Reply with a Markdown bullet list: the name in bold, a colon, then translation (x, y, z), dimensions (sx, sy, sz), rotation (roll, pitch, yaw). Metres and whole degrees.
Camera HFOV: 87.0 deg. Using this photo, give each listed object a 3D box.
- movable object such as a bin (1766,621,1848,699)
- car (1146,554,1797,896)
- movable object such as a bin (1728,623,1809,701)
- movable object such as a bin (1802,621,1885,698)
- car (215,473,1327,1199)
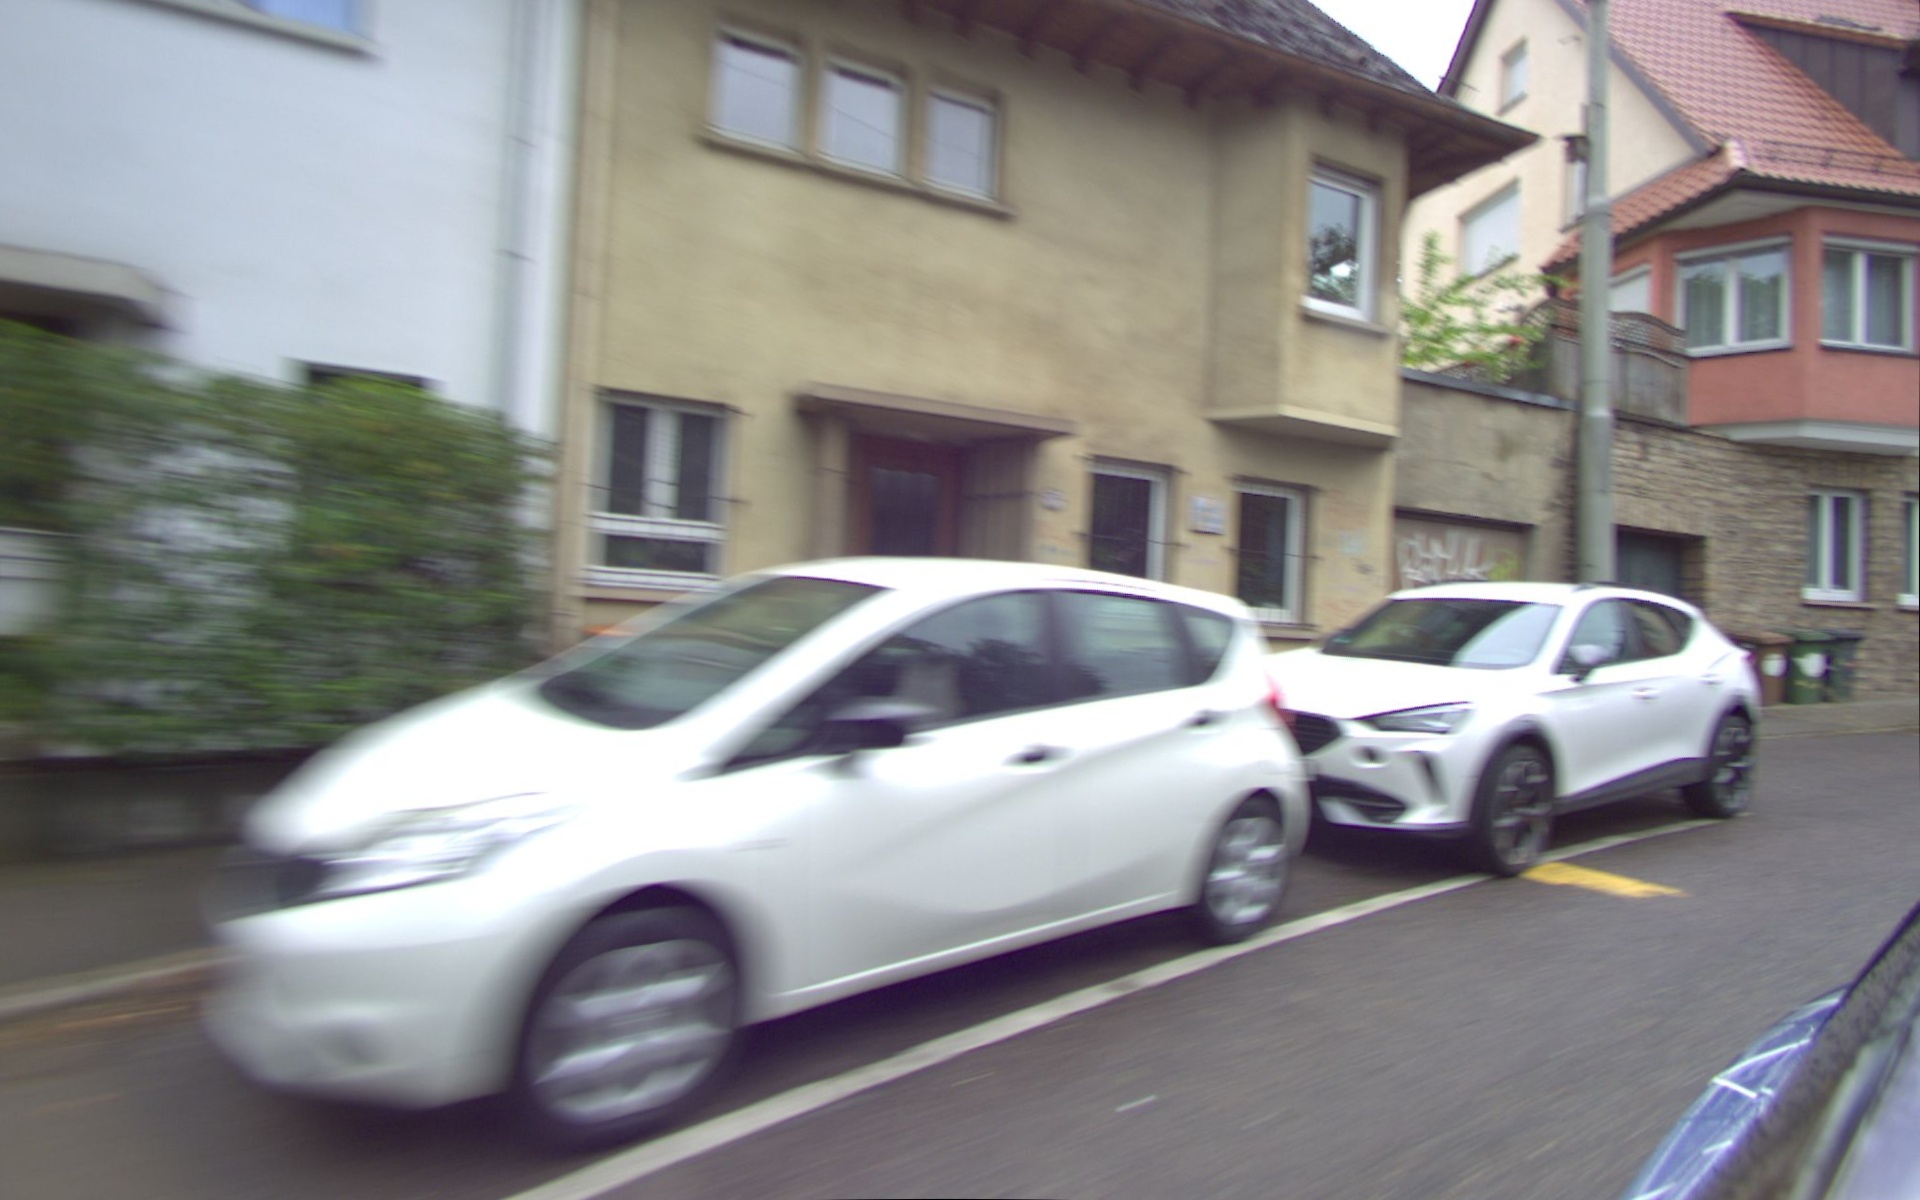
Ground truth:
- **movable object such as a bin**: translation (10.786, 0.760, 12.904), dimensions (0.502, 0.933, 0.583), rotation (0, 2, -6)
- **car**: translation (3.474, 0.515, 6.622), dimensions (4.330, 1.557, 1.921), rotation (-1, 2, -34)
- **movable object such as a bin**: translation (10.242, 0.779, 12.835), dimensions (0.502, 0.933, 0.583), rotation (0, 2, -6)
- **movable object such as a bin**: translation (11.342, 0.754, 13.005), dimensions (0.502, 0.933, 0.583), rotation (0, 2, -6)
- **car**: translation (-0.480, 0.494, 3.845), dimensions (3.753, 1.534, 1.770), rotation (0, 2, -38)
